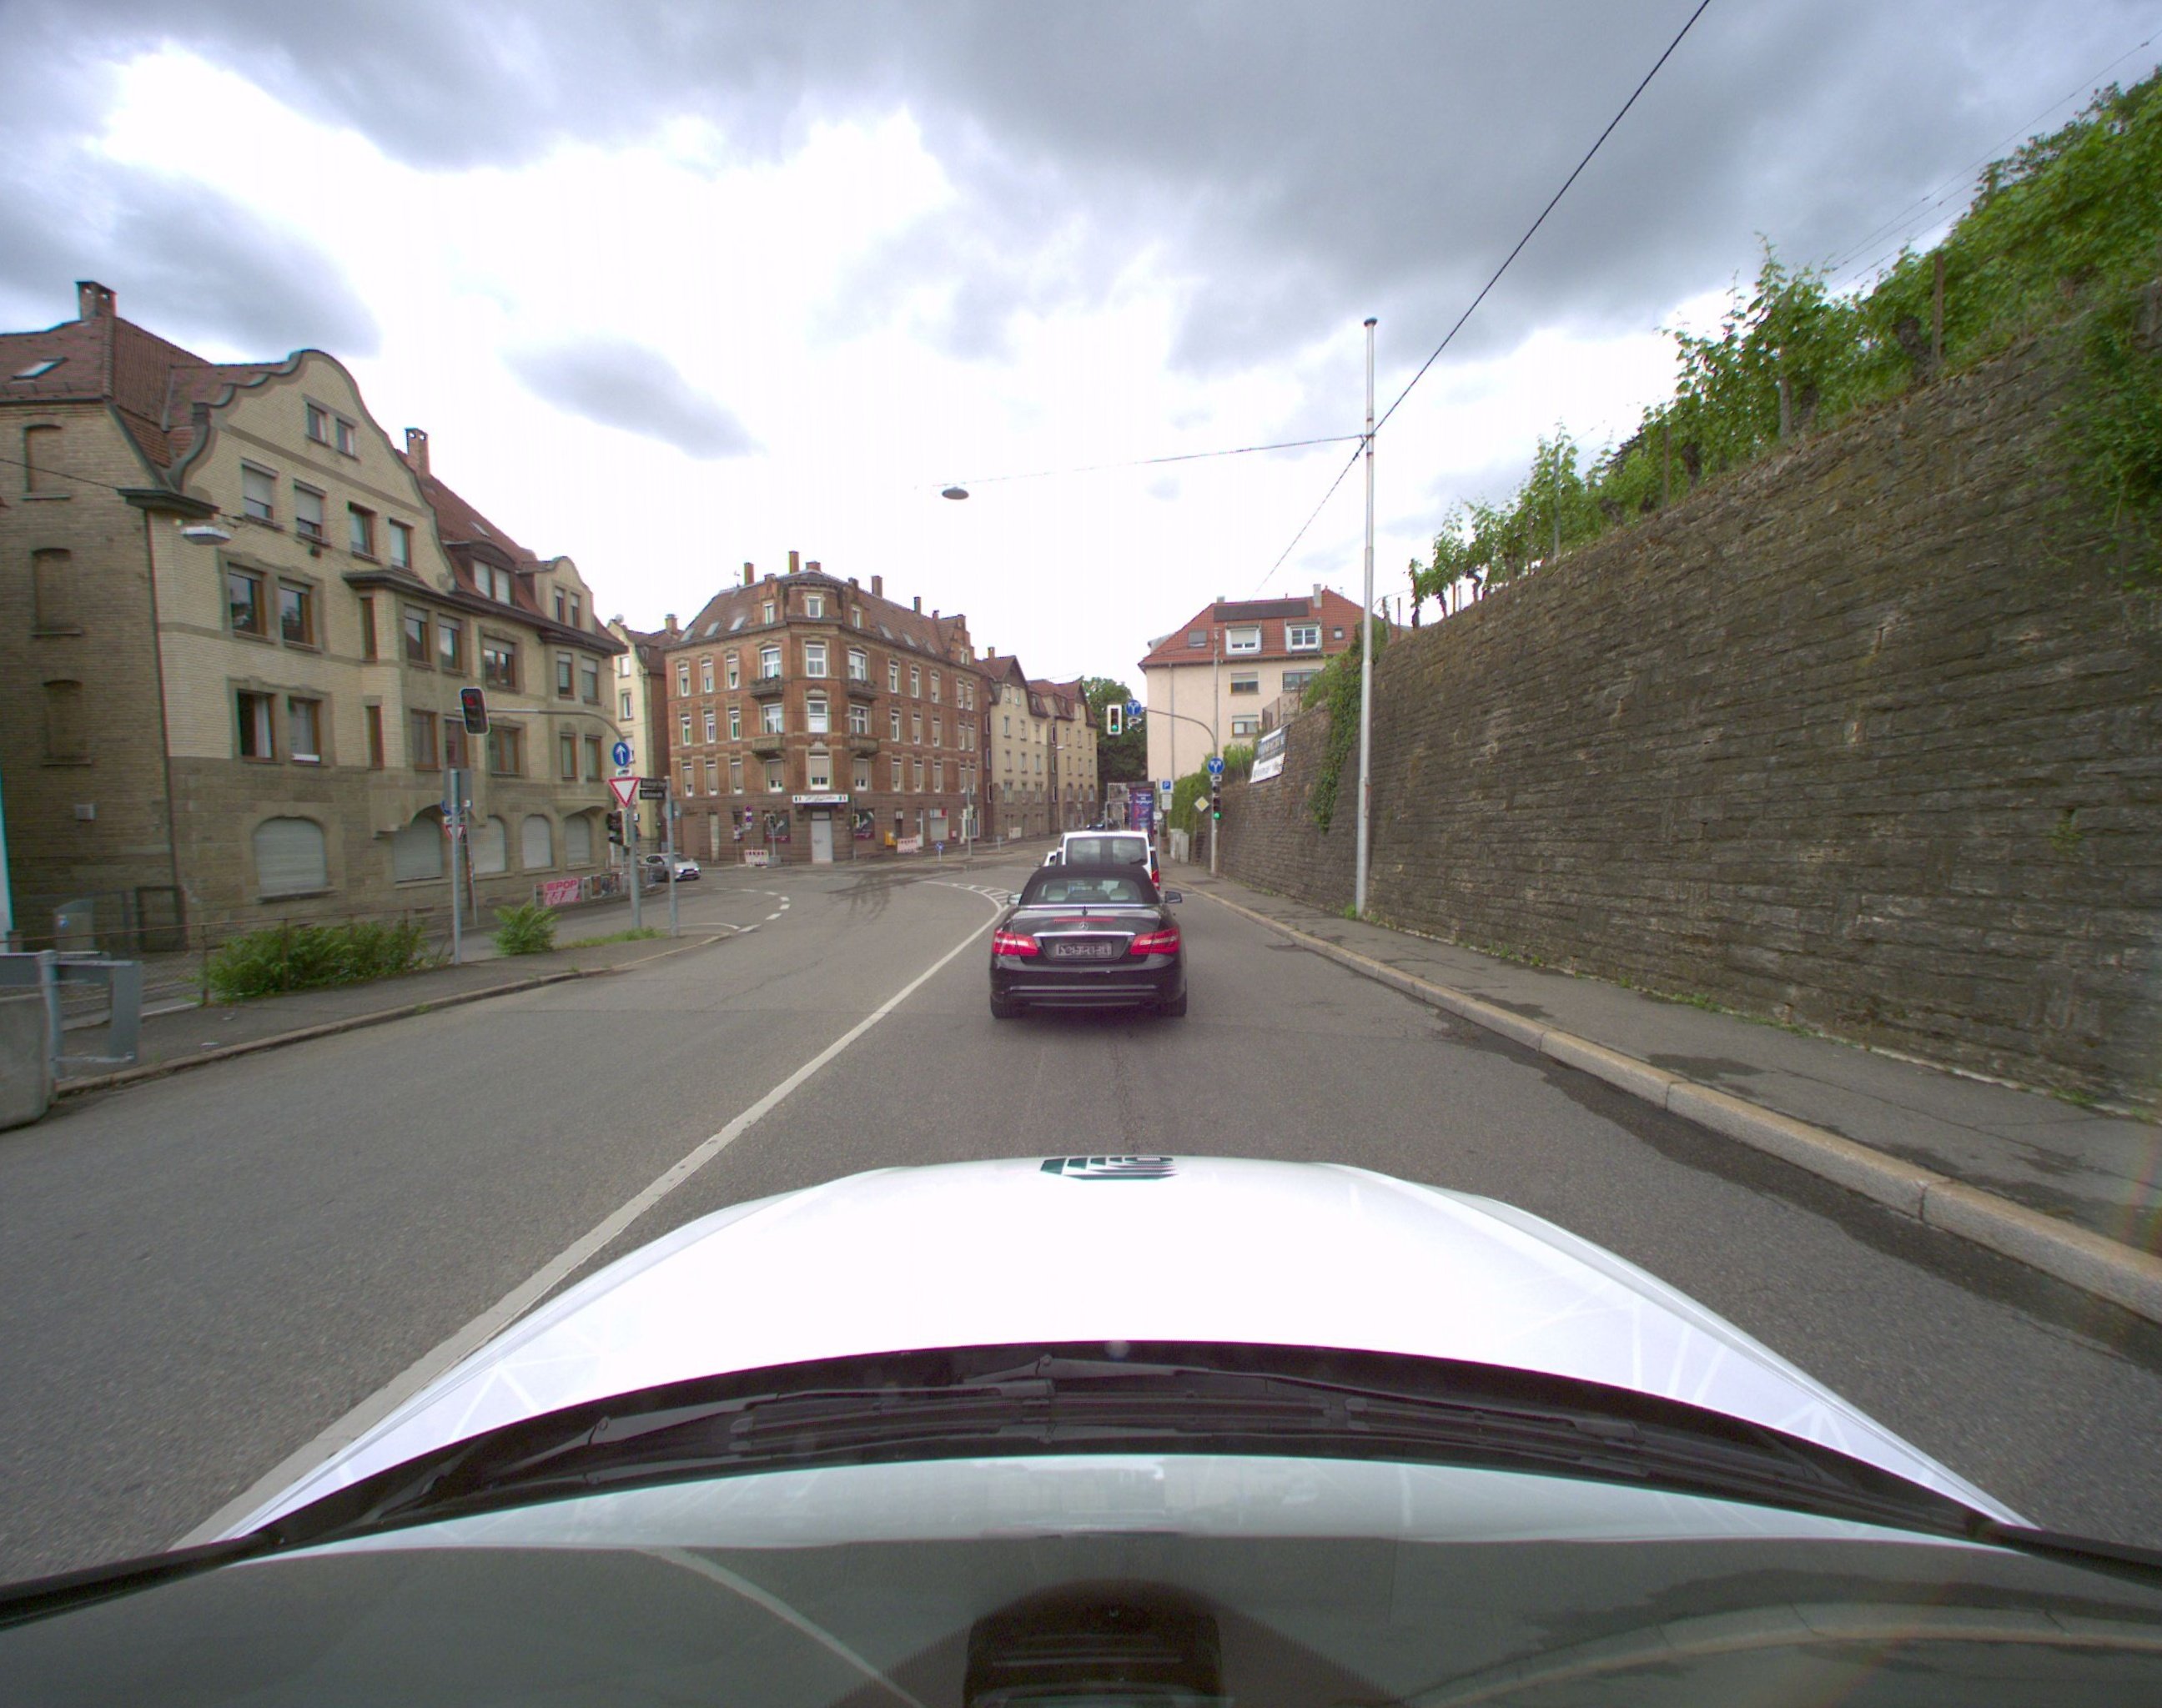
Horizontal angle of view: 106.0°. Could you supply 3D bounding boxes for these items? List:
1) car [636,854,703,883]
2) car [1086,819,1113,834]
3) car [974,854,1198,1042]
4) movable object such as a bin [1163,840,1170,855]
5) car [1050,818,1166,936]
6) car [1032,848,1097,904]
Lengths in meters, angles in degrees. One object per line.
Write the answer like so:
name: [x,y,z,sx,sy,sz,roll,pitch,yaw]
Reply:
car: [-21.856,0.747,43.236,3.596,1.467,1.686,1,1,35]
car: [2.036,-3.043,89.773,1.979,1.514,4.305,-1,3,15]
car: [0.109,0.746,8.644,1.755,1.409,4.401,-1,1,2]
movable object such as a bin: [5.168,-0.413,49.111,0.343,0.911,0.494,-1,0,-4]
car: [0.518,0.356,15.756,1.884,1.928,4.647,-1,1,2]
car: [-0.406,0.589,23.951,1.674,1.466,3.920,-1,1,2]
